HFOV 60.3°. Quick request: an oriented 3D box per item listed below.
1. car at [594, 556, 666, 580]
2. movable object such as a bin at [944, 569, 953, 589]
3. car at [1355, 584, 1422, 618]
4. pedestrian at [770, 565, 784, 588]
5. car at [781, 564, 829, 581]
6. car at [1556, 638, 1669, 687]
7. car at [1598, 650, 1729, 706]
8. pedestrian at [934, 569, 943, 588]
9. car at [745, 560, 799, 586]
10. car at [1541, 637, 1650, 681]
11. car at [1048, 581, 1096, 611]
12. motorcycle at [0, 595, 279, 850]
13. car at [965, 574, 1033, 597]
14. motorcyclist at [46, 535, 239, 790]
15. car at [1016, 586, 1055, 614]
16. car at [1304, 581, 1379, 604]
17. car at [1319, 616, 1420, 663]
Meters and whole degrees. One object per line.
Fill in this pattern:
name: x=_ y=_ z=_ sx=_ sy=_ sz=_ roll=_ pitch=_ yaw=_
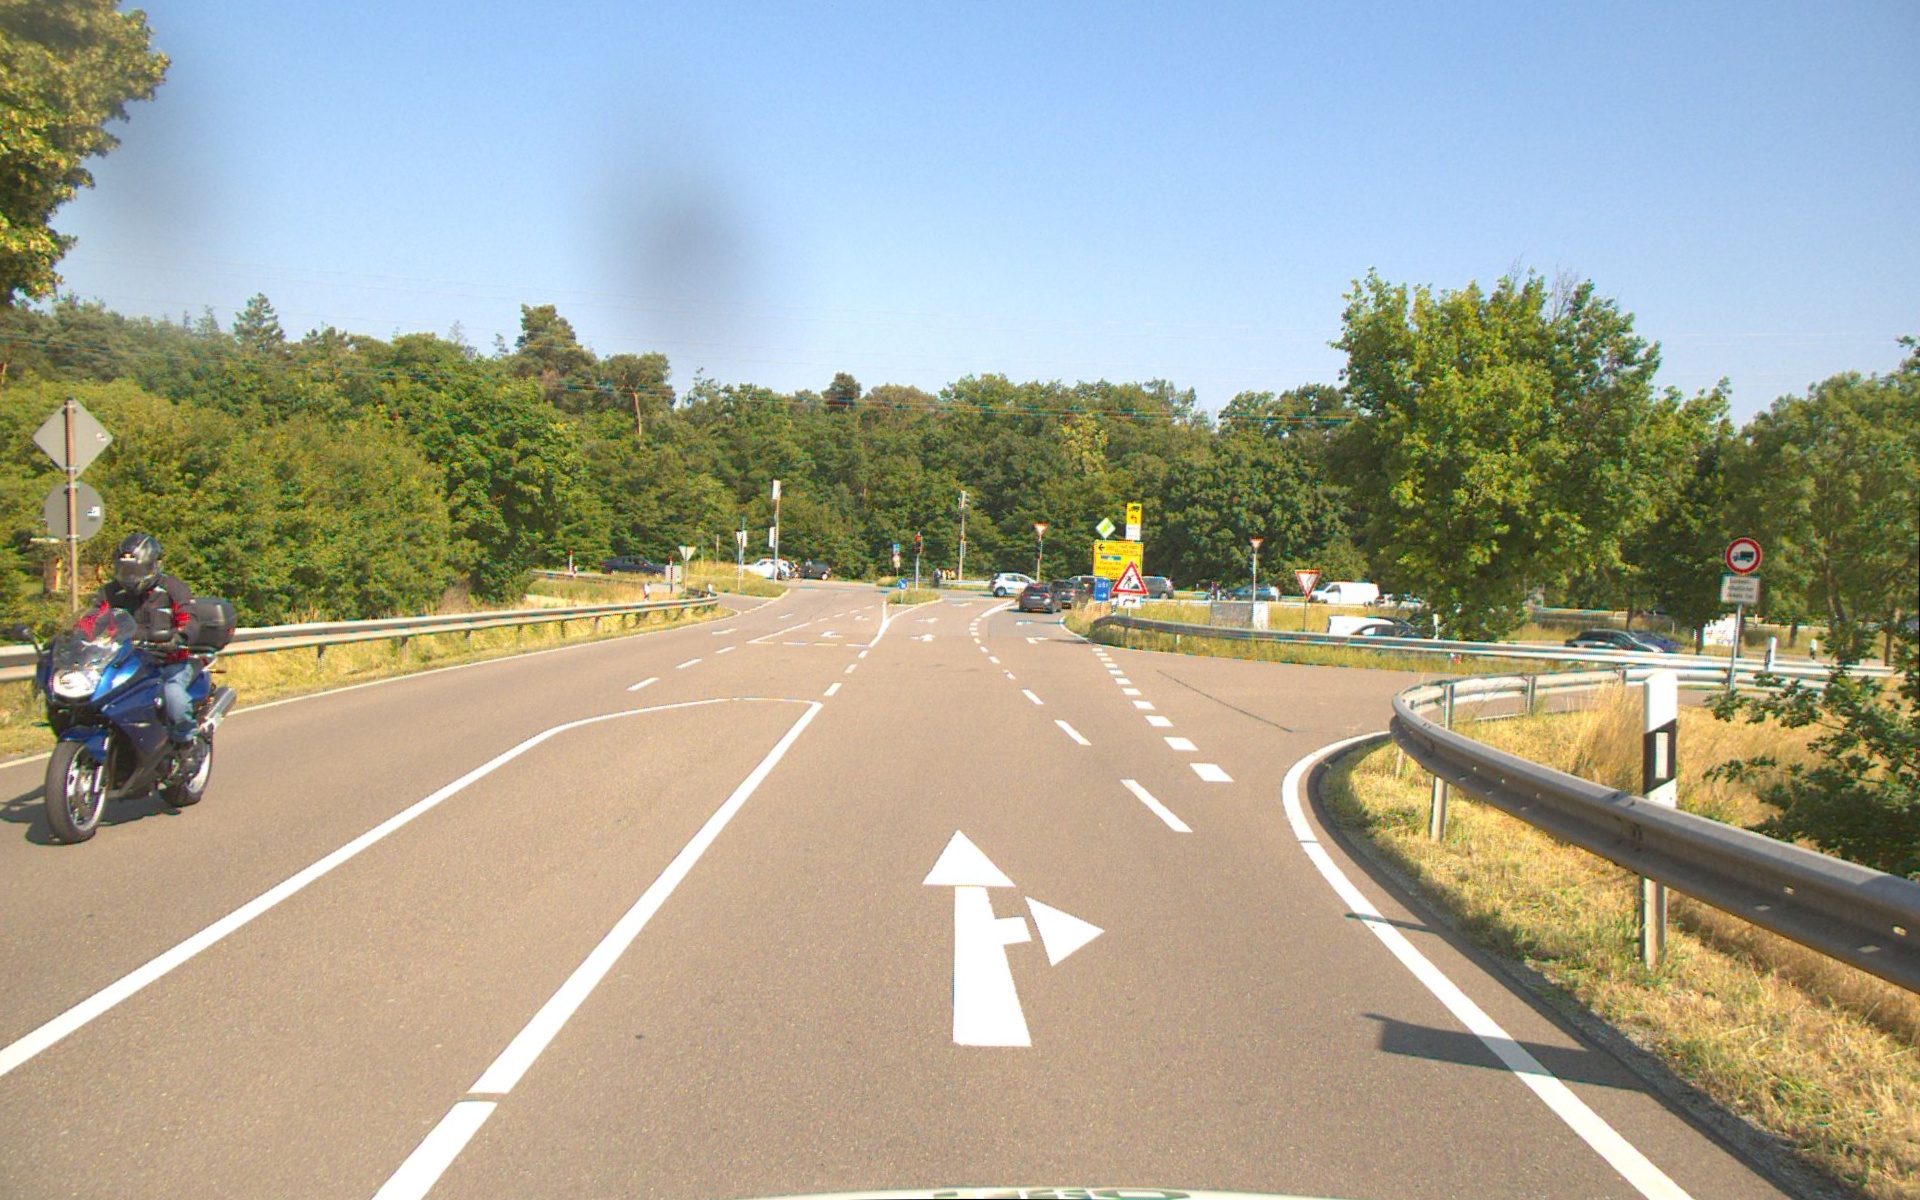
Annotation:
car: x=-20.698 y=-2.008 z=103.738 sx=4.282 sy=1.485 sz=1.997 roll=0 pitch=0 yaw=-8
movable object such as a bin: x=-0.858 y=-1.548 z=123.323 sx=0.589 sy=1.514 sz=0.732 roll=0 pitch=0 yaw=7
car: x=28.526 y=0.062 z=110.255 sx=3.909 sy=2.048 sz=1.799 roll=2 pitch=1 yaw=-5
pedestrian: x=-14.266 y=-1.853 z=128.864 sx=0.666 sy=1.751 sz=0.756 roll=2 pitch=1 yaw=38
car: x=-12.879 y=-2.274 z=136.947 sx=3.911 sy=1.447 sz=1.793 roll=0 pitch=0 yaw=-7
car: x=27.463 y=2.604 z=69.734 sx=4.265 sy=1.616 sz=2.001 roll=5 pitch=1 yaw=19
car: x=25.361 y=2.796 z=59.735 sx=3.903 sy=1.608 sz=1.893 roll=5 pitch=1 yaw=8
pedestrian: x=-1.612 y=-1.610 z=122.791 sx=0.513 sy=1.415 sz=0.513 roll=0 pitch=0 yaw=30
car: x=-14.809 y=-2.123 z=130.084 sx=3.931 sy=2.049 sz=1.784 roll=0 pitch=0 yaw=-22
car: x=27.665 y=2.556 z=72.138 sx=4.265 sy=1.472 sz=2.001 roll=5 pitch=1 yaw=19
car: x=6.269 y=-0.233 z=92.237 sx=1.761 sy=1.527 sz=4.003 roll=3 pitch=1 yaw=16
motorcycle: x=-4.811 y=0.646 z=9.836 sx=0.703 sy=1.331 sz=2.180 roll=0 pitch=1 yaw=-3
car: x=2.469 y=-0.934 z=106.243 sx=4.148 sy=1.485 sz=1.997 roll=0 pitch=0 yaw=-8
motorcyclist: x=-4.815 y=0.349 z=9.802 sx=0.685 sy=1.432 sz=0.978 roll=0 pitch=0 yaw=-3
car: x=3.891 y=-0.013 z=84.748 sx=1.761 sy=1.422 sz=4.003 roll=0 pitch=0 yaw=5
car: x=27.010 y=-0.526 z=117.259 sx=4.788 sy=1.579 sz=1.997 roll=0 pitch=0 yaw=-7
car: x=18.483 y=1.765 z=74.833 sx=4.262 sy=1.814 sz=1.903 roll=3 pitch=1 yaw=12
